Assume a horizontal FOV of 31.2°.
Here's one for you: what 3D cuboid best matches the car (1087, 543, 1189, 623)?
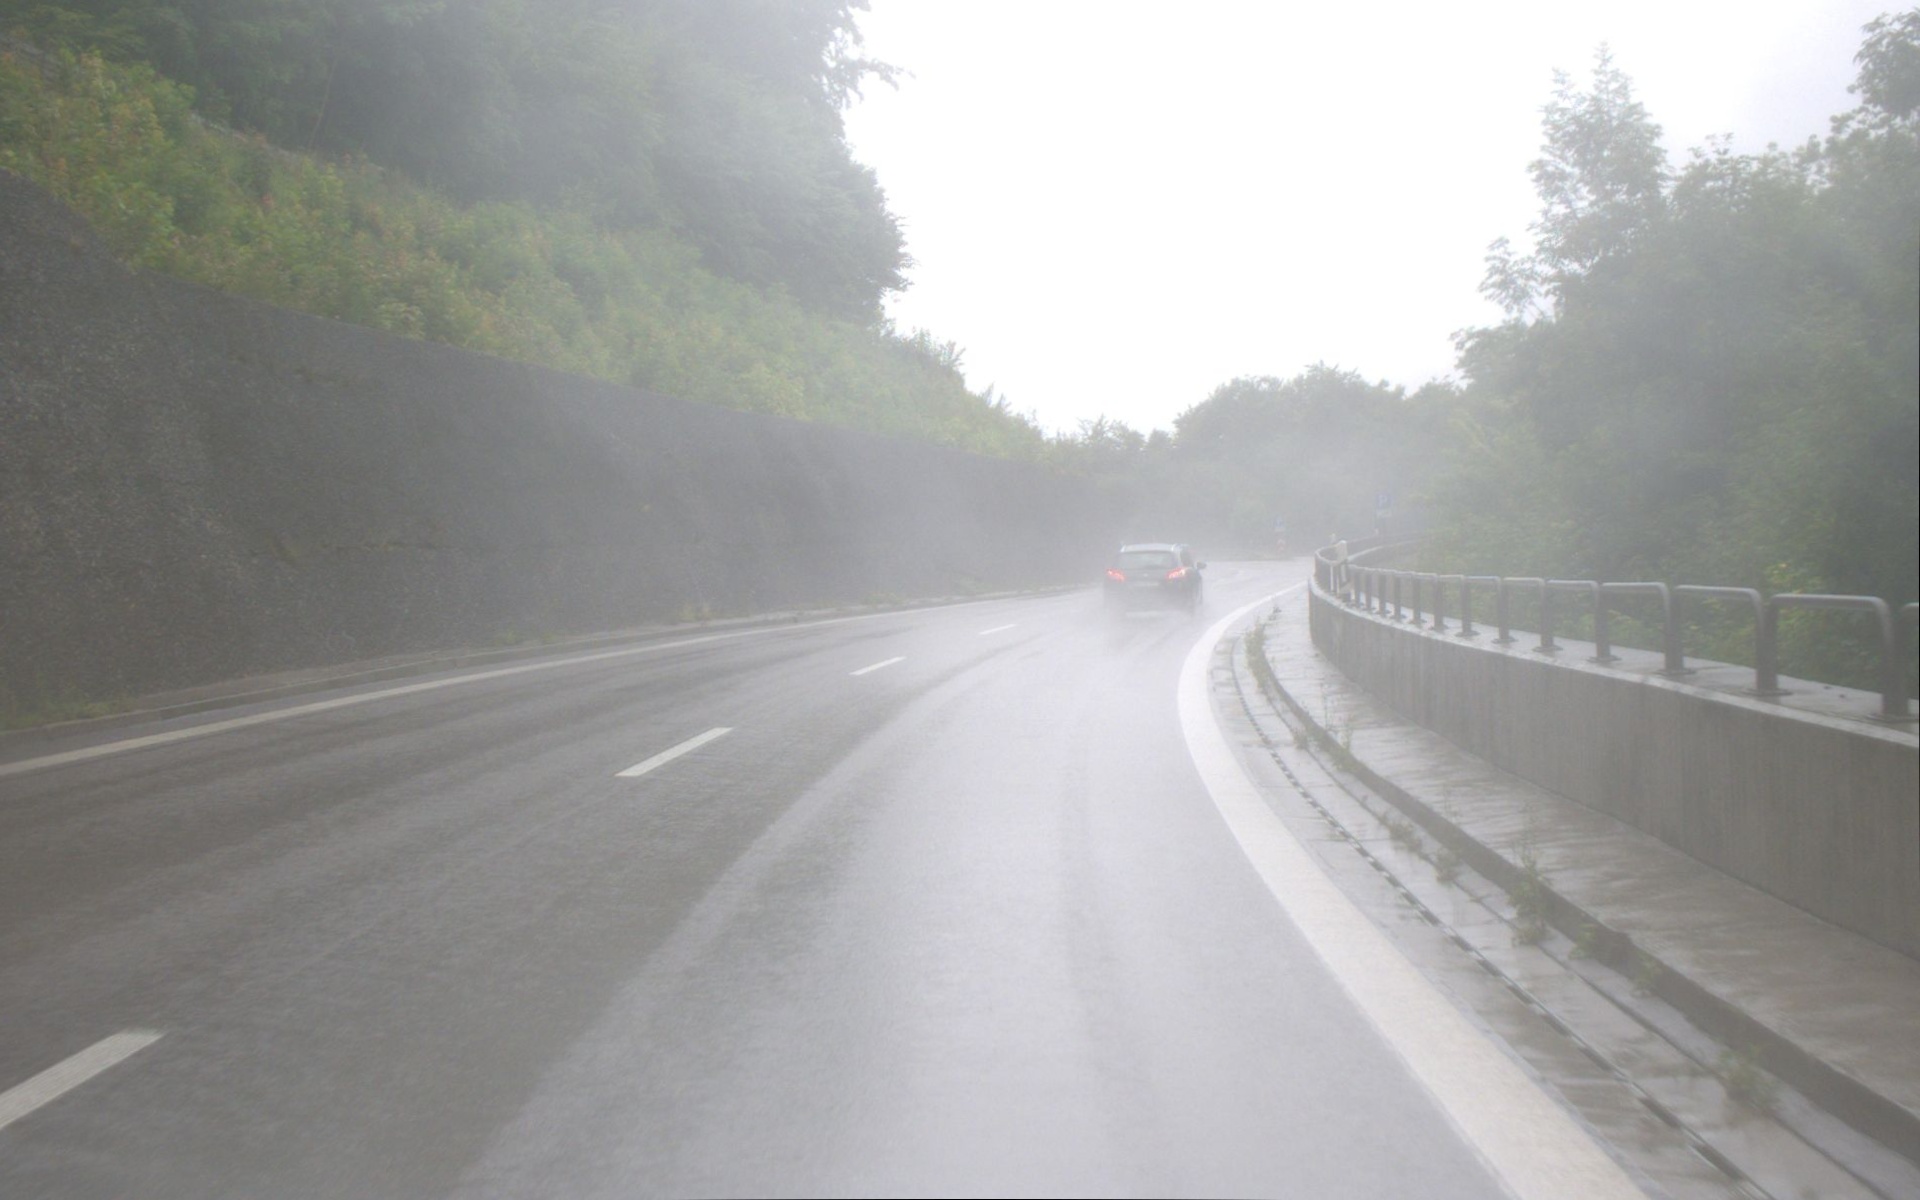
[{"bbox_3d":[3.559,-0.358,68.207,1.904,1.494,4.000,-2,1,4],"label":"car"}]
